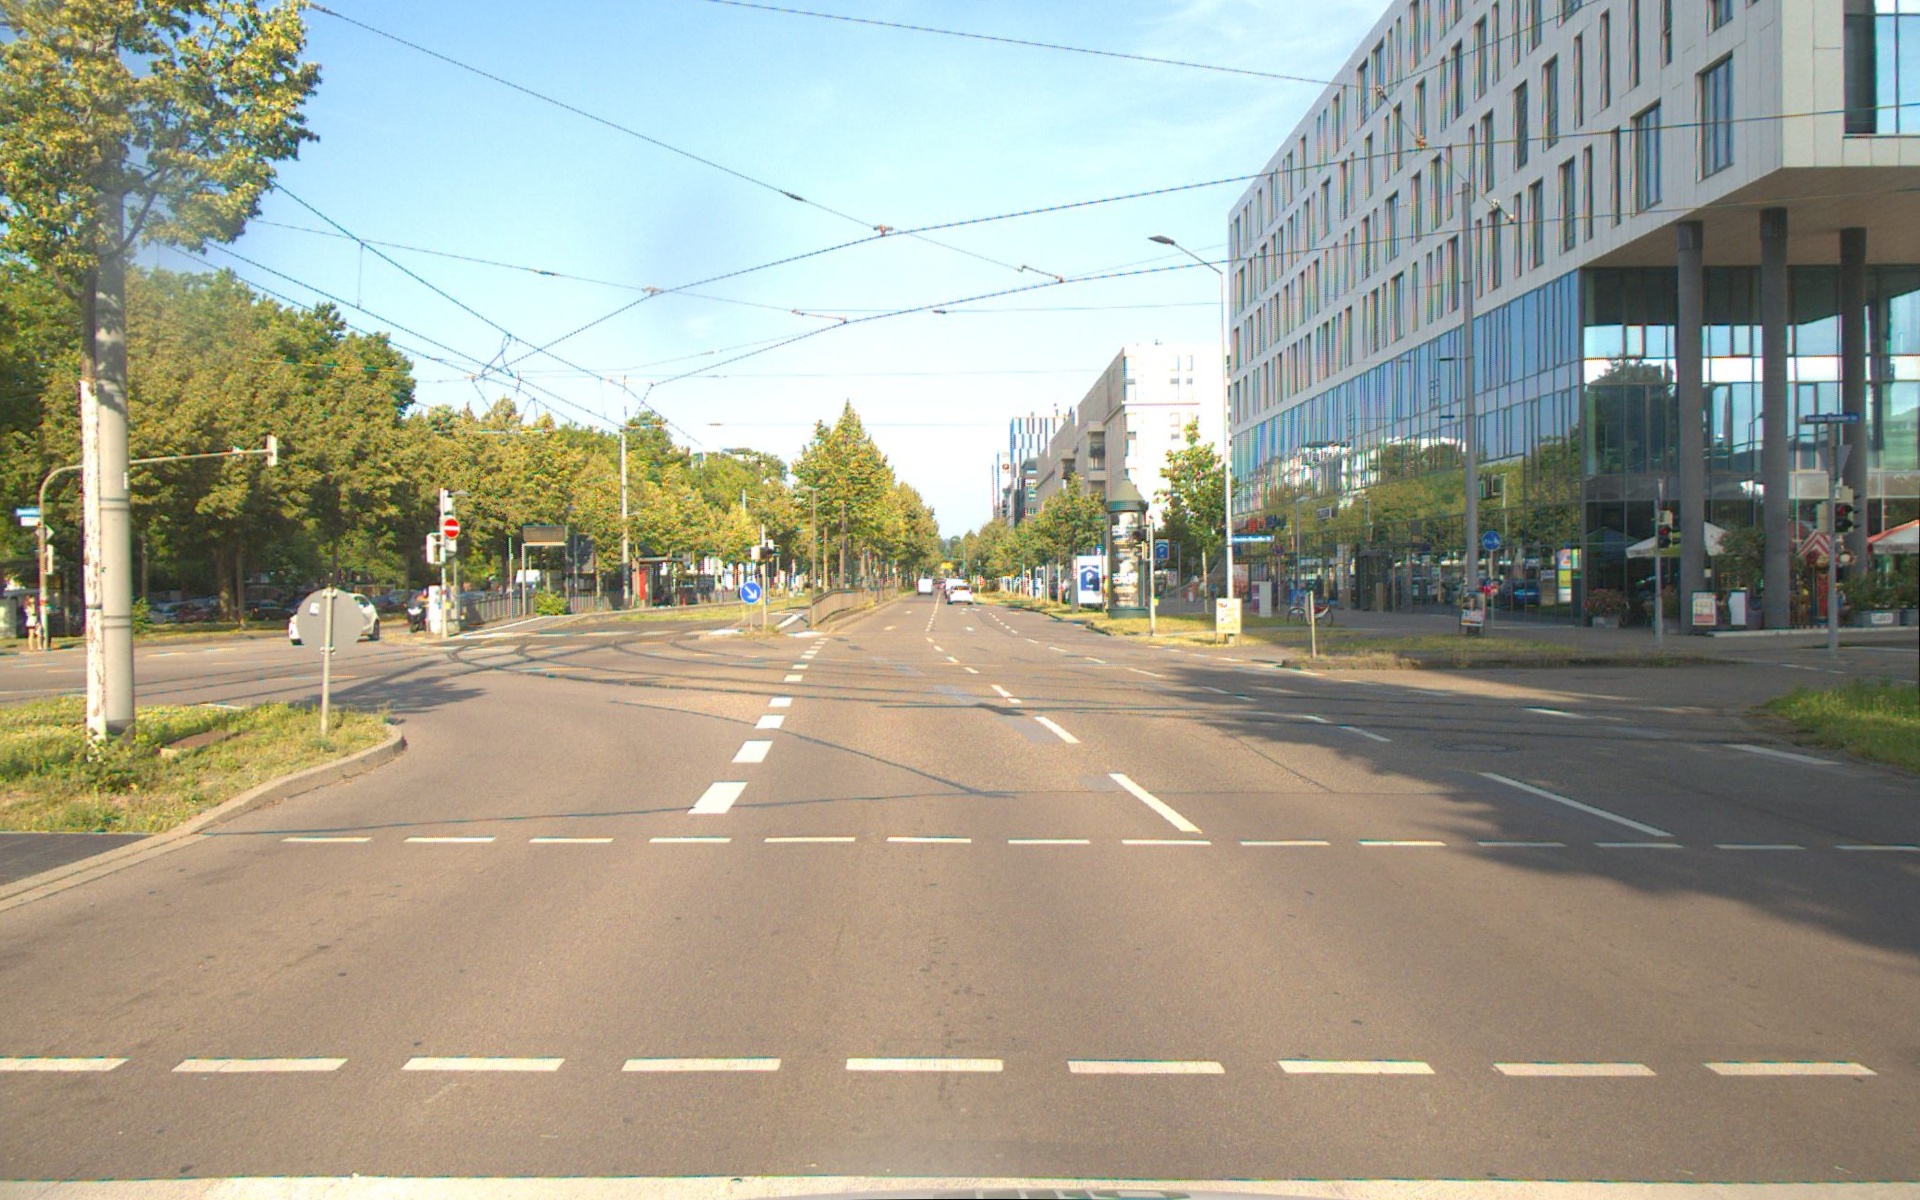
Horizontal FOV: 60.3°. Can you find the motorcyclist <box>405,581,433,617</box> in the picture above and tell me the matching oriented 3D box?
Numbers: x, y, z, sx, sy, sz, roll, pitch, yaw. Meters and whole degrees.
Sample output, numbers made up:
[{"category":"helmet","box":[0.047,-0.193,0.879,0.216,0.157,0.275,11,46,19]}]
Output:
[{"category":"motorcyclist","box":[-19.047,-0.043,58.234,0.767,1.223,0.847,1,1,-6]}]

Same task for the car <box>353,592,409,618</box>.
[{"category":"car","box":[-36.563,0.281,104.583,1.841,1.586,4.002,-1,0,5]}]

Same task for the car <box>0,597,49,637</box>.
[{"category":"car","box":[-39.136,0.693,67.135,1.841,1.586,4.002,-1,0,5]}]

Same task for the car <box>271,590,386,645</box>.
[{"category":"car","box":[-19.092,0.524,50.209,1.953,1.530,4.092,-2,-1,-1]}]

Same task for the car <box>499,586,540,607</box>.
[{"category":"car","box":[-34.634,-0.314,130.086,1.841,1.586,4.002,-1,0,5]}]

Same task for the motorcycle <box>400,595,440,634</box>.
[{"category":"motorcycle","box":[-19.060,0.493,58.416,0.803,1.285,2.546,0,1,-6]}]

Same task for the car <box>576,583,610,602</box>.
[{"category":"car","box":[-33.384,-0.688,150.523,1.841,1.586,4.002,-1,0,5]}]

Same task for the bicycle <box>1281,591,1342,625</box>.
[{"category":"bicycle","box":[11.580,0.257,54.578,0.768,1.050,1.848,-1,3,-44]}]

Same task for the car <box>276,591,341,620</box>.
[{"category":"car","box":[-37.421,0.307,95.119,1.841,1.586,4.002,-1,0,5]}]

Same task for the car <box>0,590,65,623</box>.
[{"category":"car","box":[-46.416,0.324,81.792,1.841,1.586,4.002,-1,0,5]}]

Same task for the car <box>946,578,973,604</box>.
[{"category":"car","box":[-0.031,-0.660,118.472,1.826,1.713,4.000,1,1,0]}]

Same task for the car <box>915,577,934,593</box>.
[{"category":"car","box":[-3.899,-1.704,183.949,1.973,1.713,4.000,1,1,0]}]

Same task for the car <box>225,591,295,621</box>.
[{"category":"car","box":[-37.858,0.313,89.542,1.841,1.586,4.002,-1,0,5]}]

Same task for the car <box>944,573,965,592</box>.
[{"category":"car","box":[-0.508,-1.691,154.746,1.826,1.713,4.000,1,1,0]}]
